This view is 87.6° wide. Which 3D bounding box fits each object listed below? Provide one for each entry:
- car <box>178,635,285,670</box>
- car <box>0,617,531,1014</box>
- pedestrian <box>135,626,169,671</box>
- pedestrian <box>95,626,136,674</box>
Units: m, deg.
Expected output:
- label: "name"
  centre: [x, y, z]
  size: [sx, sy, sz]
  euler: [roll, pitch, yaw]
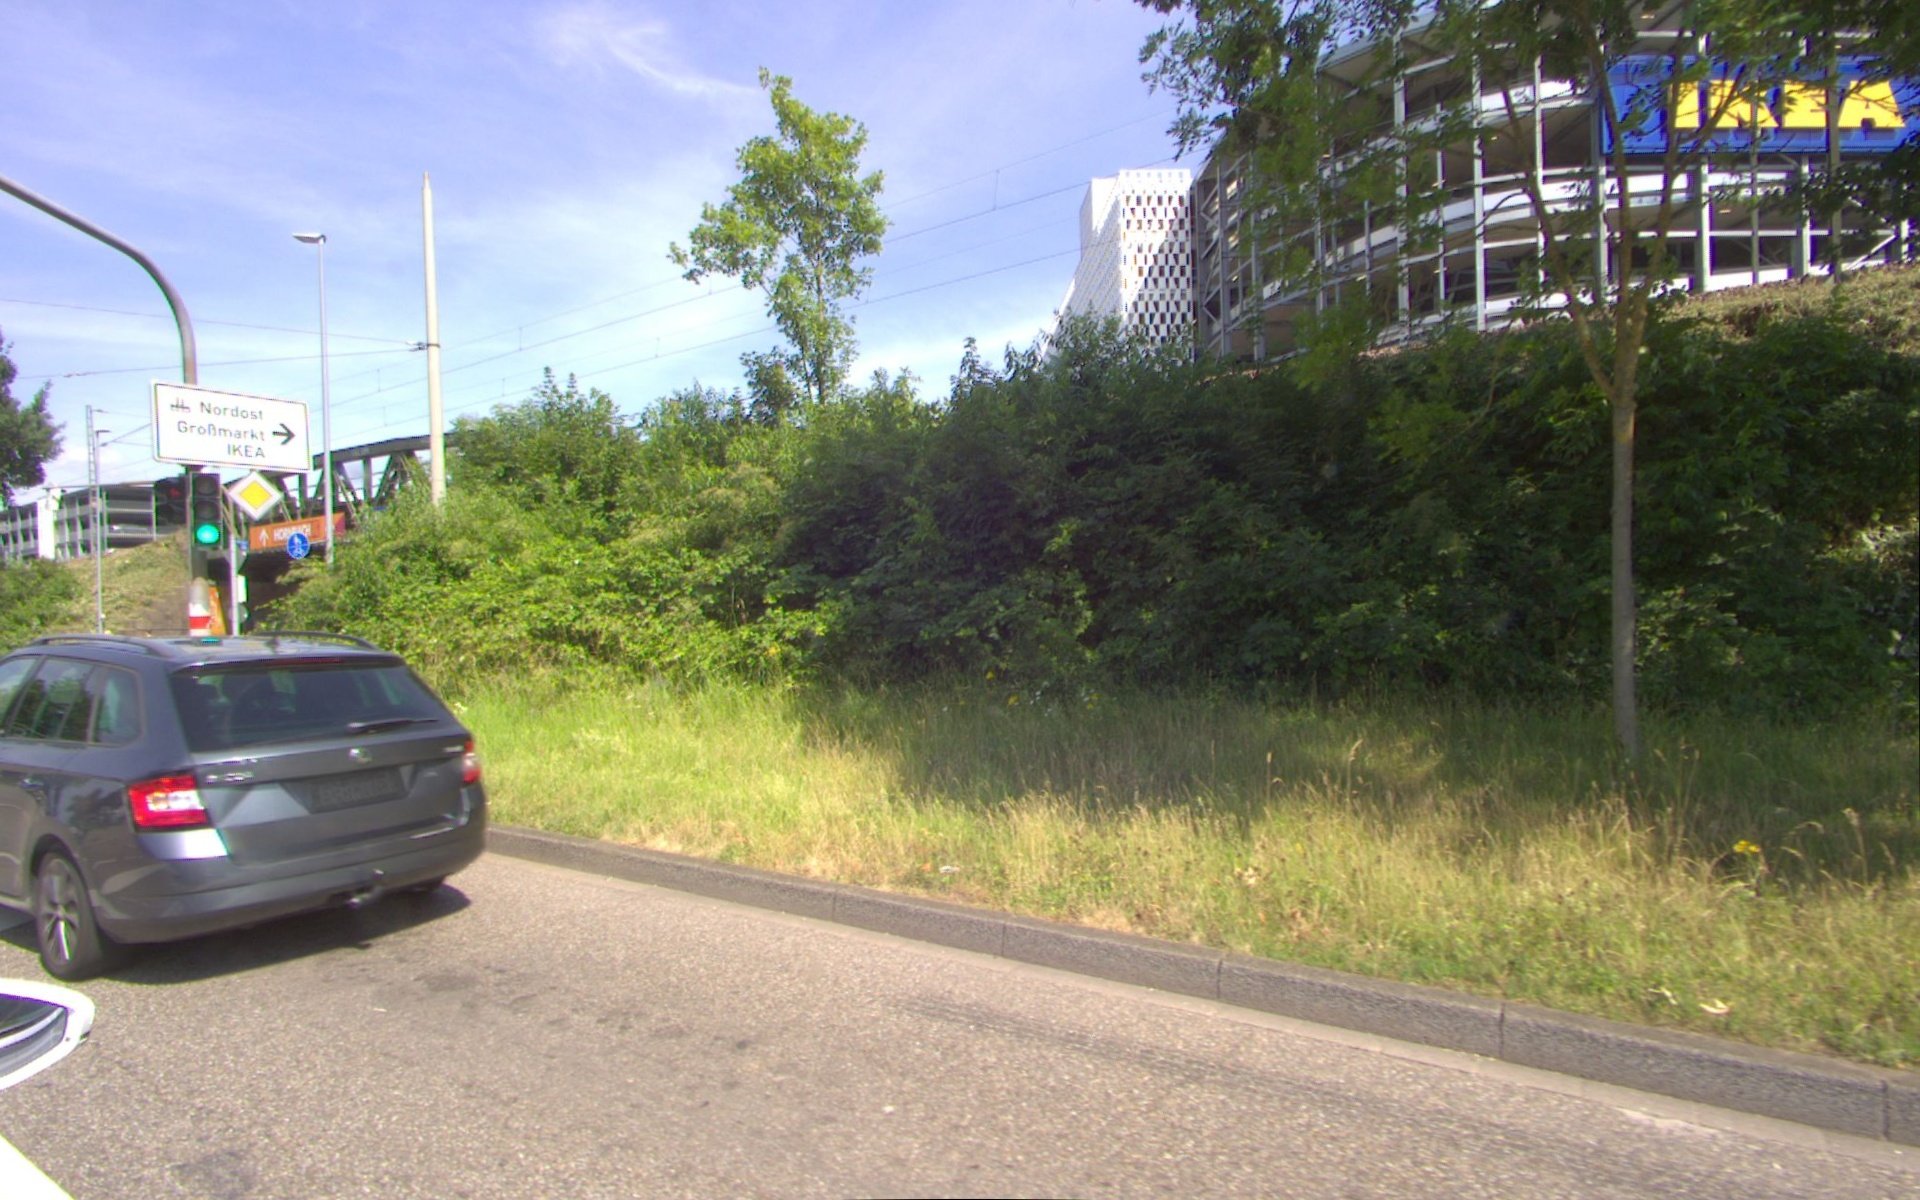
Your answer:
- label: "car"
  centre: [-34.294, 2.437, 47.325]
  size: [1.961, 1.427, 4.501]
  euler: [-1, -1, -4]
- label: "car"
  centre: [-4.331, 0.865, 5.489]
  size: [3.978, 1.472, 1.672]
  euler: [-1, -2, 32]
- label: "pedestrian"
  centre: [-28.887, 1.727, 35.814]
  size: [0.766, 1.600, 0.728]
  euler: [-1, 0, 32]
- label: "pedestrian"
  centre: [-29.397, 1.736, 34.860]
  size: [0.766, 1.633, 0.866]
  euler: [-1, 0, 32]
